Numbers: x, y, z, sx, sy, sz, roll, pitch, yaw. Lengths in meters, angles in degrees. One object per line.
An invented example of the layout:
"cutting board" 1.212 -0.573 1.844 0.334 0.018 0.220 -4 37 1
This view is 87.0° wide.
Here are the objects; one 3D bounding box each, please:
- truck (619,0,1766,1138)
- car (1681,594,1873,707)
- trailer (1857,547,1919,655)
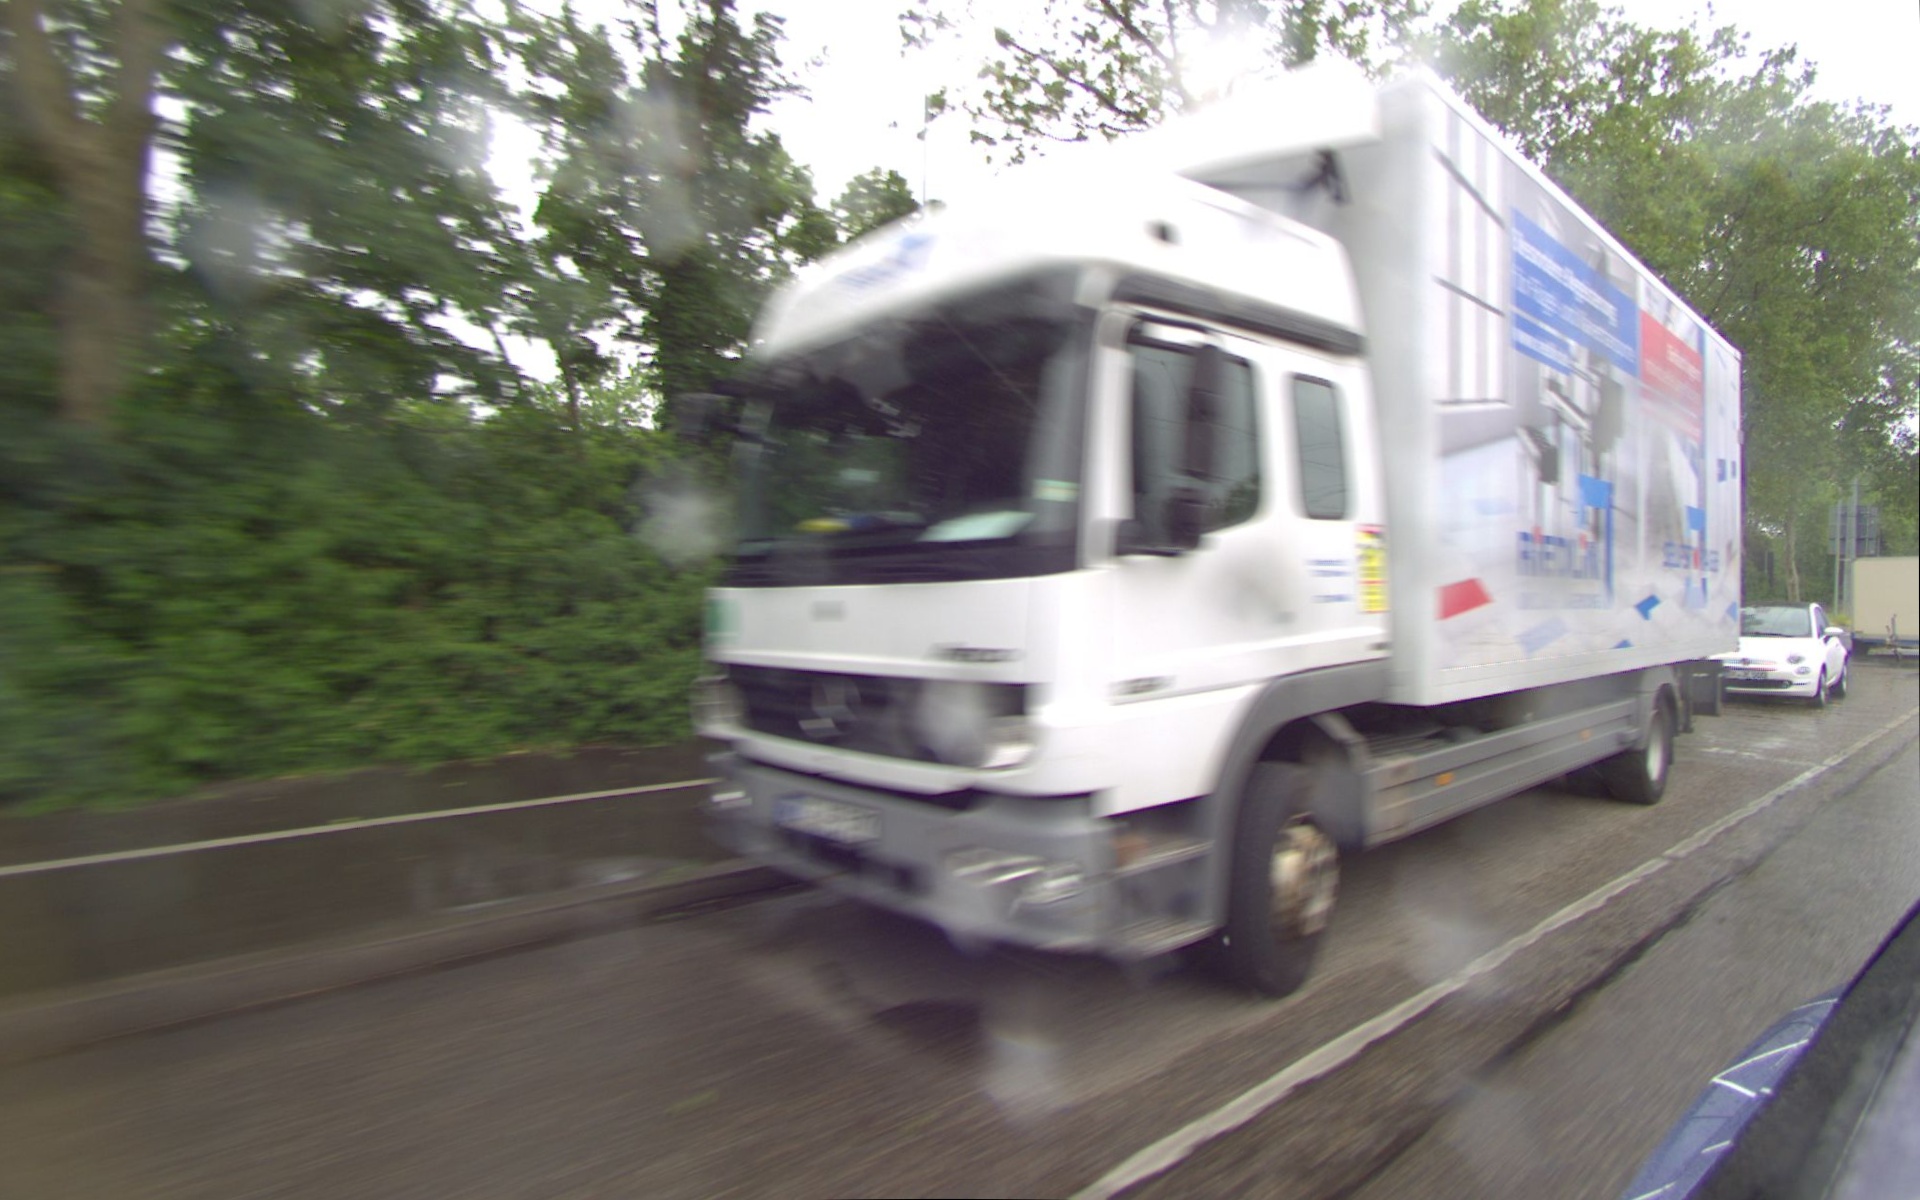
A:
"truck" 2.889 -0.567 6.975 9.687 3.750 2.779 -1 2 -43
"car" 12.816 0.689 15.799 3.931 1.548 1.715 0 -1 -42
"trailer" 26.946 -0.022 28.066 5.574 2.792 2.171 -1 1 -39
